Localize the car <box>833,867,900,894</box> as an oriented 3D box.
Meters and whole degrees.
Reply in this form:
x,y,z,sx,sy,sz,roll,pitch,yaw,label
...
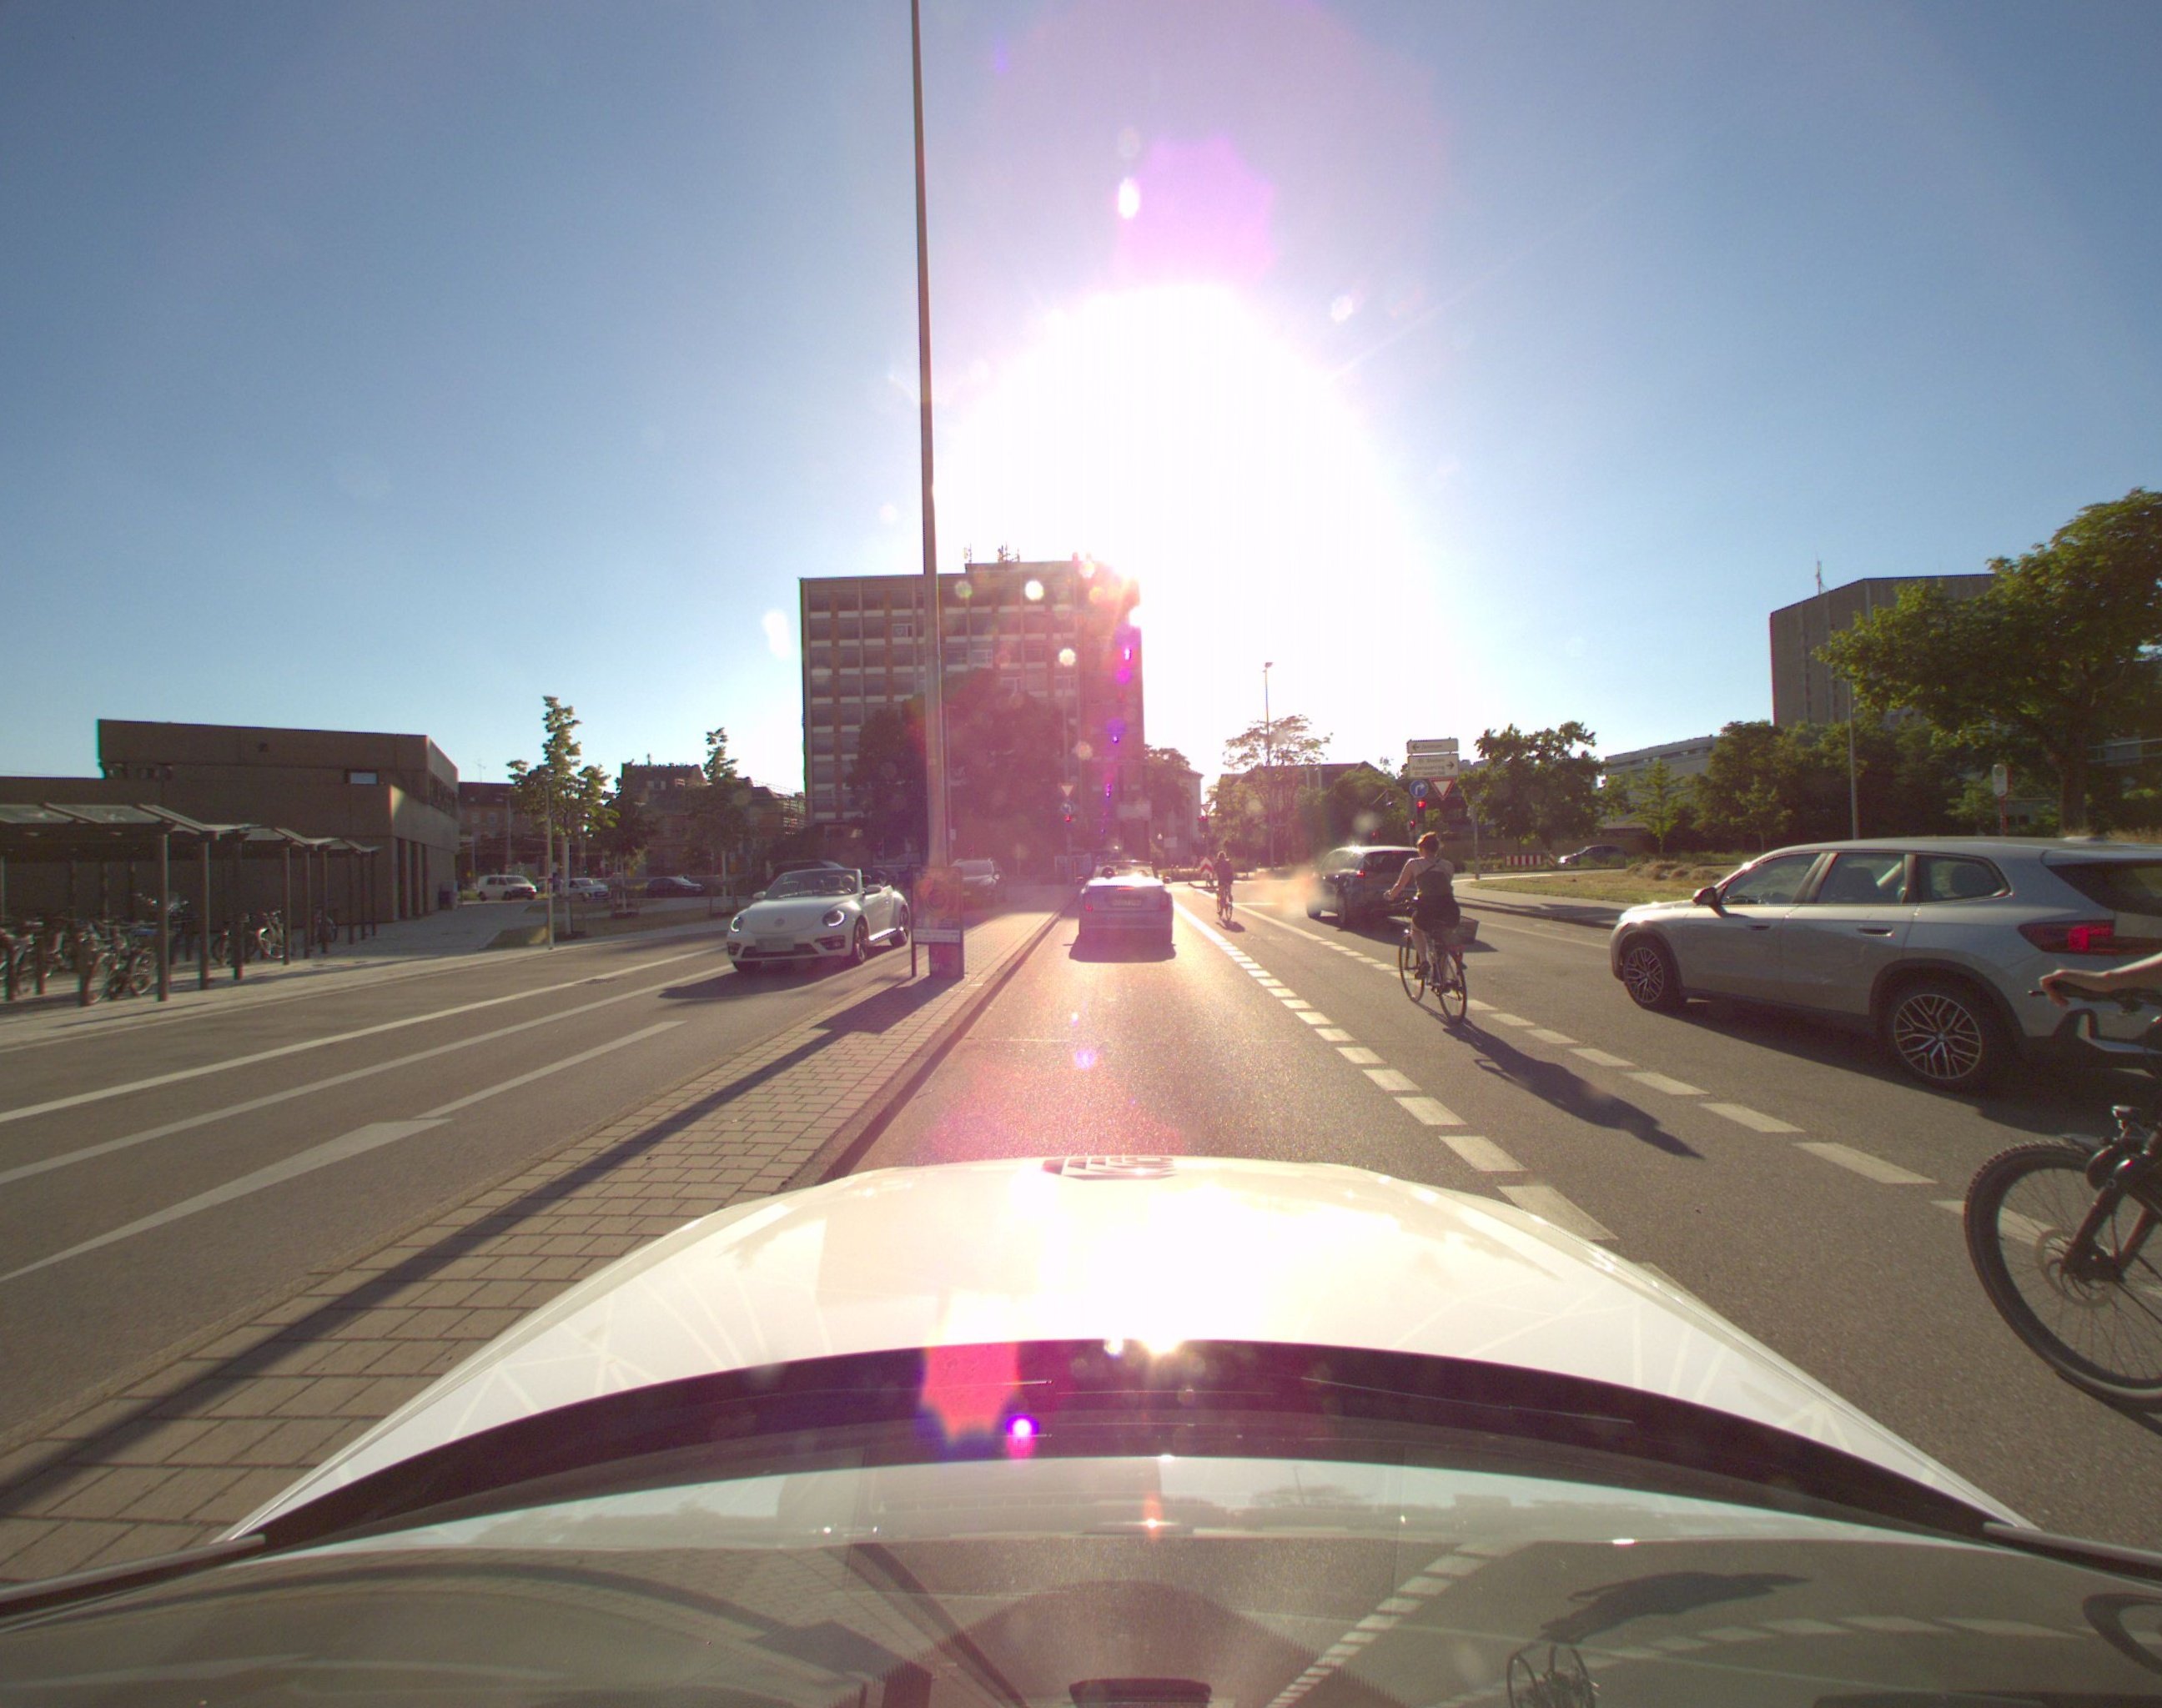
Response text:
x,y,z,sx,sy,sz,roll,pitch,yaw,label
-13.402,1.661,50.969,3.618,1.560,1.603,-2,0,7,car

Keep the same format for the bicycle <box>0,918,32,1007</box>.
x,y,z,sx,sy,sz,roll,pitch,yaw,label
-14.182,1.422,10.247,0.611,1.115,1.877,1,-2,-34,bicycle

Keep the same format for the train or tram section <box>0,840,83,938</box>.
x,y,z,sx,sy,sz,roll,pitch,yaw,label
-40.814,1.259,28.818,3.032,3.597,12.077,1,-2,-31,train or tram section

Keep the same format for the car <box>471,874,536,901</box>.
x,y,z,sx,sy,sz,roll,pitch,yaw,label
-44.129,2.574,62.231,4.416,1.857,1.805,-2,0,21,car

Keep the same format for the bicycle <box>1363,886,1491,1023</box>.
x,y,z,sx,sy,sz,roll,pitch,yaw,label
3.337,0.905,8.036,0.561,1.151,1.952,0,-1,5,bicycle

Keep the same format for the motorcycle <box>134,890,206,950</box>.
x,y,z,sx,sy,sz,roll,pitch,yaw,label
-23.056,1.633,20.652,0.771,1.390,1.876,1,-2,-35,motorcycle

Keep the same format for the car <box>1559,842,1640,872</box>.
x,y,z,sx,sy,sz,roll,pitch,yaw,label
30.445,0.177,47.901,3.615,1.560,1.655,-2,0,11,car

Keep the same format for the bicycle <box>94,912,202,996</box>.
x,y,z,sx,sy,sz,roll,pitch,yaw,label
-14.414,1.501,12.636,0.611,1.115,1.877,1,-2,-34,bicycle

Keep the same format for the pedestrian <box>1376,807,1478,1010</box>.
x,y,z,sx,sy,sz,roll,pitch,yaw,label
3.344,0.508,7.941,0.656,1.869,0.873,0,-1,4,pedestrian

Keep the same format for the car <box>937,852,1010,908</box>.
x,y,z,sx,sy,sz,roll,pitch,yaw,label
-3.299,0.777,25.646,1.794,1.530,3.998,-3,0,-1,car

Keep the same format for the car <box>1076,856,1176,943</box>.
x,y,z,sx,sy,sz,roll,pitch,yaw,label
0.761,0.795,15.530,1.655,1.441,4.154,0,-1,0,car

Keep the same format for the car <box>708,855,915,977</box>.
x,y,z,sx,sy,sz,roll,pitch,yaw,label
-4.008,0.834,12.868,1.793,1.530,4.001,-3,0,1,car

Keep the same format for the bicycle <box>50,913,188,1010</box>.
x,y,z,sx,sy,sz,roll,pitch,yaw,label
-12.978,1.401,11.061,0.610,1.115,1.878,1,-2,-31,bicycle

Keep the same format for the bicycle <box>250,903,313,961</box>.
x,y,z,sx,sy,sz,roll,pitch,yaw,label
-17.205,1.644,17.564,0.611,1.115,1.877,1,-2,-34,bicycle

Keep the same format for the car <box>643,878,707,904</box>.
x,y,z,sx,sy,sz,roll,pitch,yaw,label
-27.702,2.517,55.618,3.569,1.560,1.653,-2,0,7,car

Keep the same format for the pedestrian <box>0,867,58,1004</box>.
x,y,z,sx,sy,sz,roll,pitch,yaw,label
-15.063,1.111,11.280,0.907,1.869,0.680,1,-2,-34,pedestrian

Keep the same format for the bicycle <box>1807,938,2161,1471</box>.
x,y,z,sx,sy,sz,roll,pitch,yaw,label
2.812,0.857,1.656,0.552,1.171,2.372,0,-1,0,bicycle

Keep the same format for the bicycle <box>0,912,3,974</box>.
x,y,z,sx,sy,sz,roll,pitch,yaw,label
-19.412,1.597,13.900,0.611,1.115,1.877,1,-2,-34,bicycle

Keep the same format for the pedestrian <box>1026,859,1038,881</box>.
x,y,z,sx,sy,sz,roll,pitch,yaw,label
-4.255,1.371,70.166,0.863,1.869,0.663,-1,-1,13,pedestrian

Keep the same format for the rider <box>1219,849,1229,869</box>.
x,y,z,sx,sy,sz,roll,pitch,yaw,label
11.692,0.440,66.541,0.746,1.598,0.592,-1,-2,14,rider

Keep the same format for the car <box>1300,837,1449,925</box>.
x,y,z,sx,sy,sz,roll,pitch,yaw,label
6.191,0.562,17.754,1.824,1.689,4.371,0,-1,2,car

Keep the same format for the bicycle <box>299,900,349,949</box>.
x,y,z,sx,sy,sz,roll,pitch,yaw,label
-19.087,1.755,20.555,0.611,1.115,1.877,1,-2,-34,bicycle

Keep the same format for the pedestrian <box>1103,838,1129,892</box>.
x,y,z,sx,sy,sz,roll,pitch,yaw,label
1.242,0.393,28.468,0.829,1.869,0.922,0,-2,7,pedestrian

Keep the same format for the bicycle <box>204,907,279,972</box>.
x,y,z,sx,sy,sz,roll,pitch,yaw,label
-16.274,1.626,15.830,0.611,1.115,1.877,1,-2,-34,bicycle

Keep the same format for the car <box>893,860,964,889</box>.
x,y,z,sx,sy,sz,roll,pitch,yaw,label
-8.823,1.184,47.155,3.614,1.560,1.655,-2,0,12,car

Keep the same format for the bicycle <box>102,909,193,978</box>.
x,y,z,sx,sy,sz,roll,pitch,yaw,label
-17.346,1.634,15.177,0.611,1.115,1.877,1,-2,-34,bicycle

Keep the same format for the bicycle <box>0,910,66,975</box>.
x,y,z,sx,sy,sz,roll,pitch,yaw,label
-20.479,1.689,15.673,0.611,1.115,1.877,1,-2,-34,bicycle

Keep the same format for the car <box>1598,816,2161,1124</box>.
x,y,z,sx,sy,sz,roll,pitch,yaw,label
6.319,0.634,6.404,1.781,1.594,4.329,0,-1,0,car

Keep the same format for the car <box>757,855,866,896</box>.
x,y,z,sx,sy,sz,roll,pitch,yaw,label
-14.290,1.118,43.186,5.108,1.894,2.258,-3,0,21,car

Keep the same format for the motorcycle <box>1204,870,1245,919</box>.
x,y,z,sx,sy,sz,roll,pitch,yaw,label
3.381,0.927,19.421,0.611,1.098,2.360,0,-1,1,motorcycle

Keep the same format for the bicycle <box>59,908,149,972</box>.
x,y,z,sx,sy,sz,roll,pitch,yaw,label
-19.454,1.675,16.262,0.611,1.115,1.877,1,-2,-34,bicycle

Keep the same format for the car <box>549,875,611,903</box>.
x,y,z,sx,sy,sz,roll,pitch,yaw,label
-30.428,2.118,49.464,3.554,1.560,1.655,-2,0,29,car

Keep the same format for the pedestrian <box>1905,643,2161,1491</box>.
x,y,z,sx,sy,sz,roll,pitch,yaw,label
2.781,0.469,1.851,0.804,1.869,0.955,0,-1,-2,pedestrian

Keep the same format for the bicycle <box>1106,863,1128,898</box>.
x,y,z,sx,sy,sz,roll,pitch,yaw,label
1.278,0.922,28.576,0.605,1.192,2.418,0,-1,6,bicycle

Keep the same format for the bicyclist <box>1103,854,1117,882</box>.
x,y,z,sx,sy,sz,roll,pitch,yaw,label
1.662,0.832,47.159,0.747,1.598,0.591,0,-2,8,bicyclist

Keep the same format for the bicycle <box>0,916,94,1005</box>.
x,y,z,sx,sy,sz,roll,pitch,yaw,label
-15.287,1.520,11.866,0.611,1.115,1.877,1,-2,-34,bicycle

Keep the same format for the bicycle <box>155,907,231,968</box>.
x,y,z,sx,sy,sz,roll,pitch,yaw,label
-18.352,1.687,16.875,0.611,1.115,1.877,1,-2,-34,bicycle

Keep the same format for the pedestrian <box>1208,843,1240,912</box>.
x,y,z,sx,sy,sz,roll,pitch,yaw,label
3.392,0.556,19.383,0.585,1.598,1.025,0,-1,1,pedestrian

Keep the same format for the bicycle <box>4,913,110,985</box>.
x,y,z,sx,sy,sz,roll,pitch,yaw,label
-18.315,1.657,14.613,0.611,1.115,1.877,1,-2,-34,bicycle

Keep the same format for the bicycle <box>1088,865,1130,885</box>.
x,y,z,sx,sy,sz,roll,pitch,yaw,label
1.631,1.217,47.149,2.393,1.192,0.611,0,-2,8,bicycle
